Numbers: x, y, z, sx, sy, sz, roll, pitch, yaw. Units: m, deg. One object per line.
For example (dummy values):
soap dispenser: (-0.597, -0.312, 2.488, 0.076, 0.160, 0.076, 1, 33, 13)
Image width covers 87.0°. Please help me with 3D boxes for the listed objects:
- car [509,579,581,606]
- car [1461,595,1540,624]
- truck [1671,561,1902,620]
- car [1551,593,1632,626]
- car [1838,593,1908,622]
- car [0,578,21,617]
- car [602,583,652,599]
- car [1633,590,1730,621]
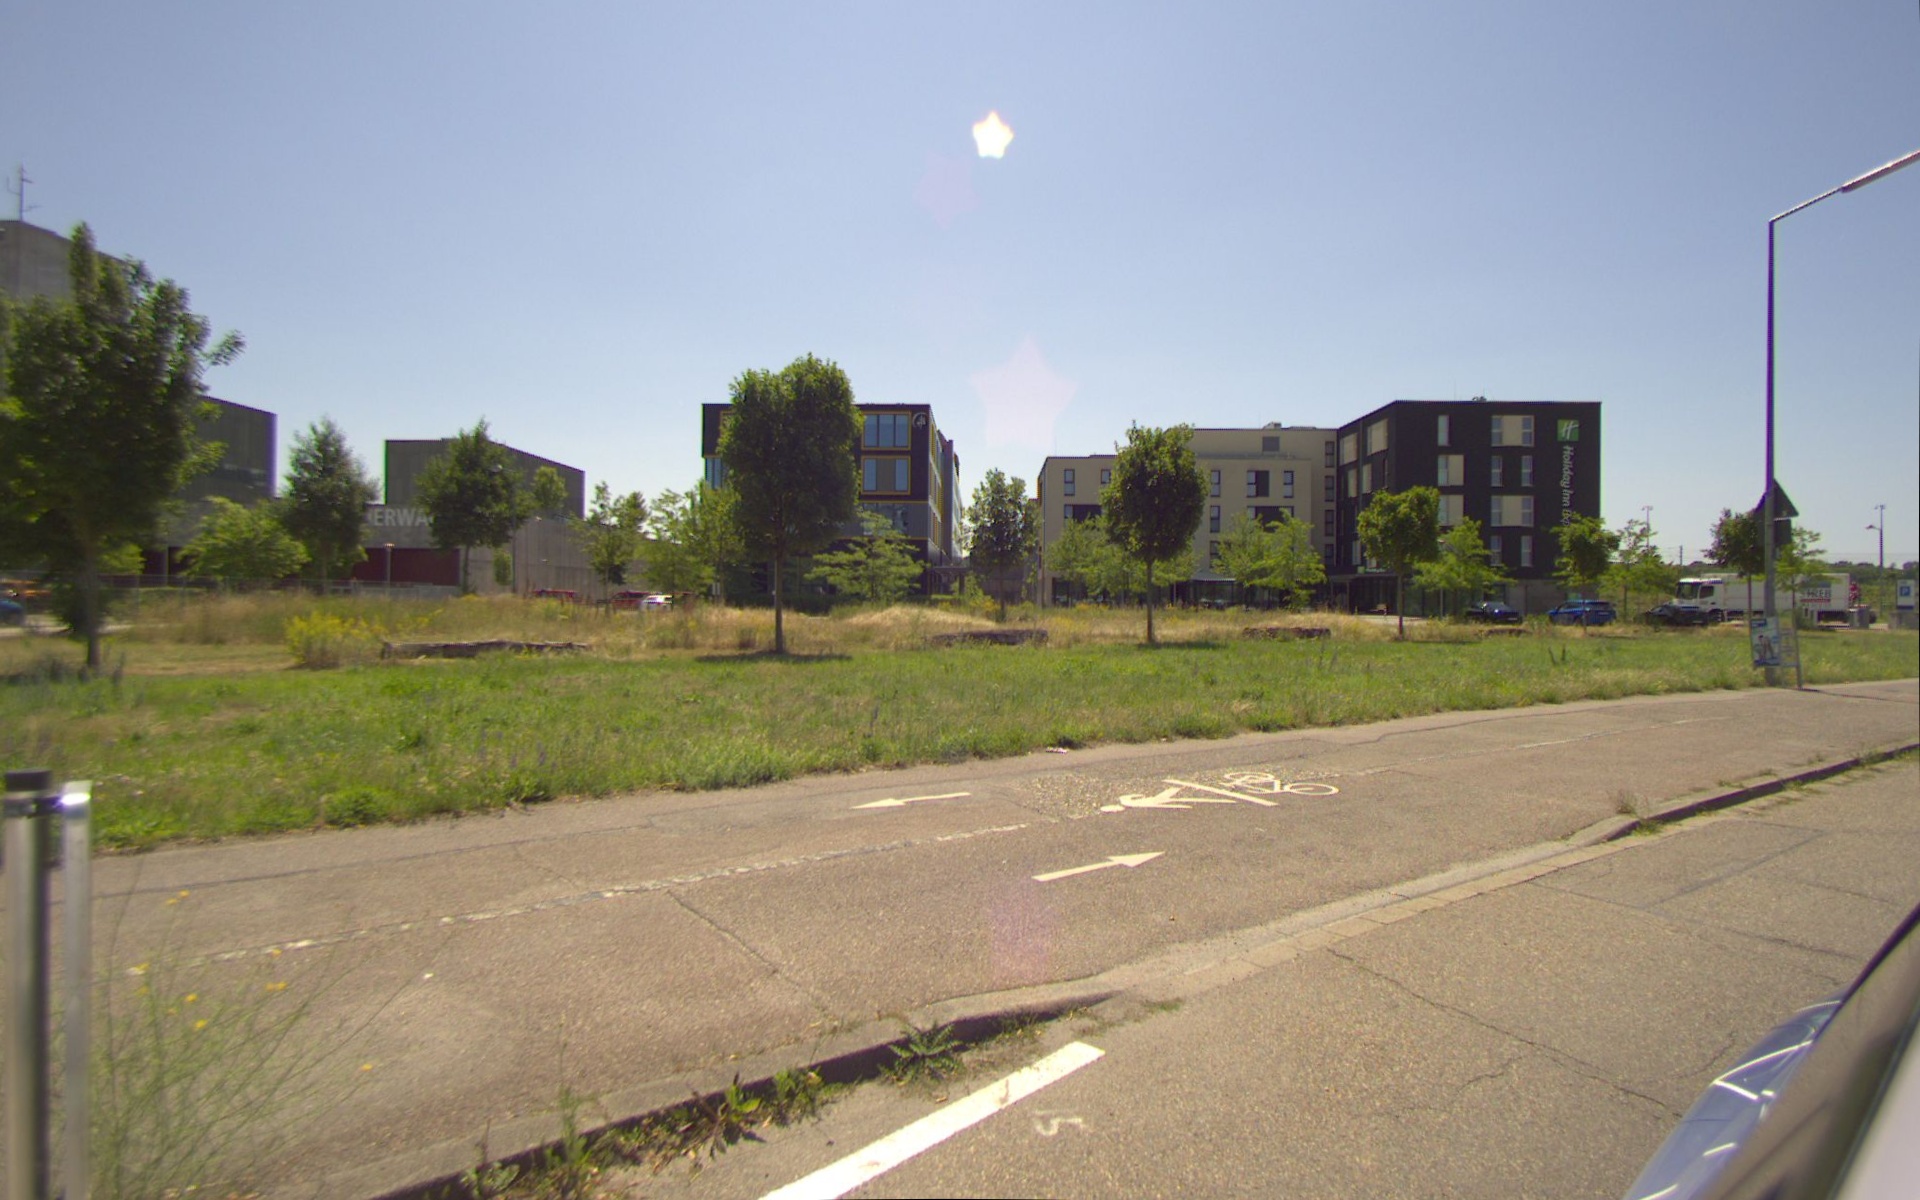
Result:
car: (-34.396, -0.598, 83.873, 5.066, 2.142, 2.235, 1, 0, 3)
car: (29.758, 0.480, 55.874, 1.923, 1.462, 4.130, 1, 1, -4)
truck: (53.423, -0.686, 65.679, 11.919, 3.504, 3.017, 1, 2, 4)
car: (34.651, 0.486, 55.671, 1.918, 1.672, 4.070, 1, 1, 1)
car: (69.406, 0.531, 76.975, 1.846, 2.039, 3.913, 1, 1, 3)
car: (-38.767, -0.095, 38.923, 1.624, 1.509, 4.000, 1, 1, 0)
car: (-33.593, -0.872, 102.041, 4.438, 1.529, 1.803, 1, 0, -1)
car: (39.017, 0.265, 54.910, 1.993, 1.581, 4.508, 1, 1, 0)
